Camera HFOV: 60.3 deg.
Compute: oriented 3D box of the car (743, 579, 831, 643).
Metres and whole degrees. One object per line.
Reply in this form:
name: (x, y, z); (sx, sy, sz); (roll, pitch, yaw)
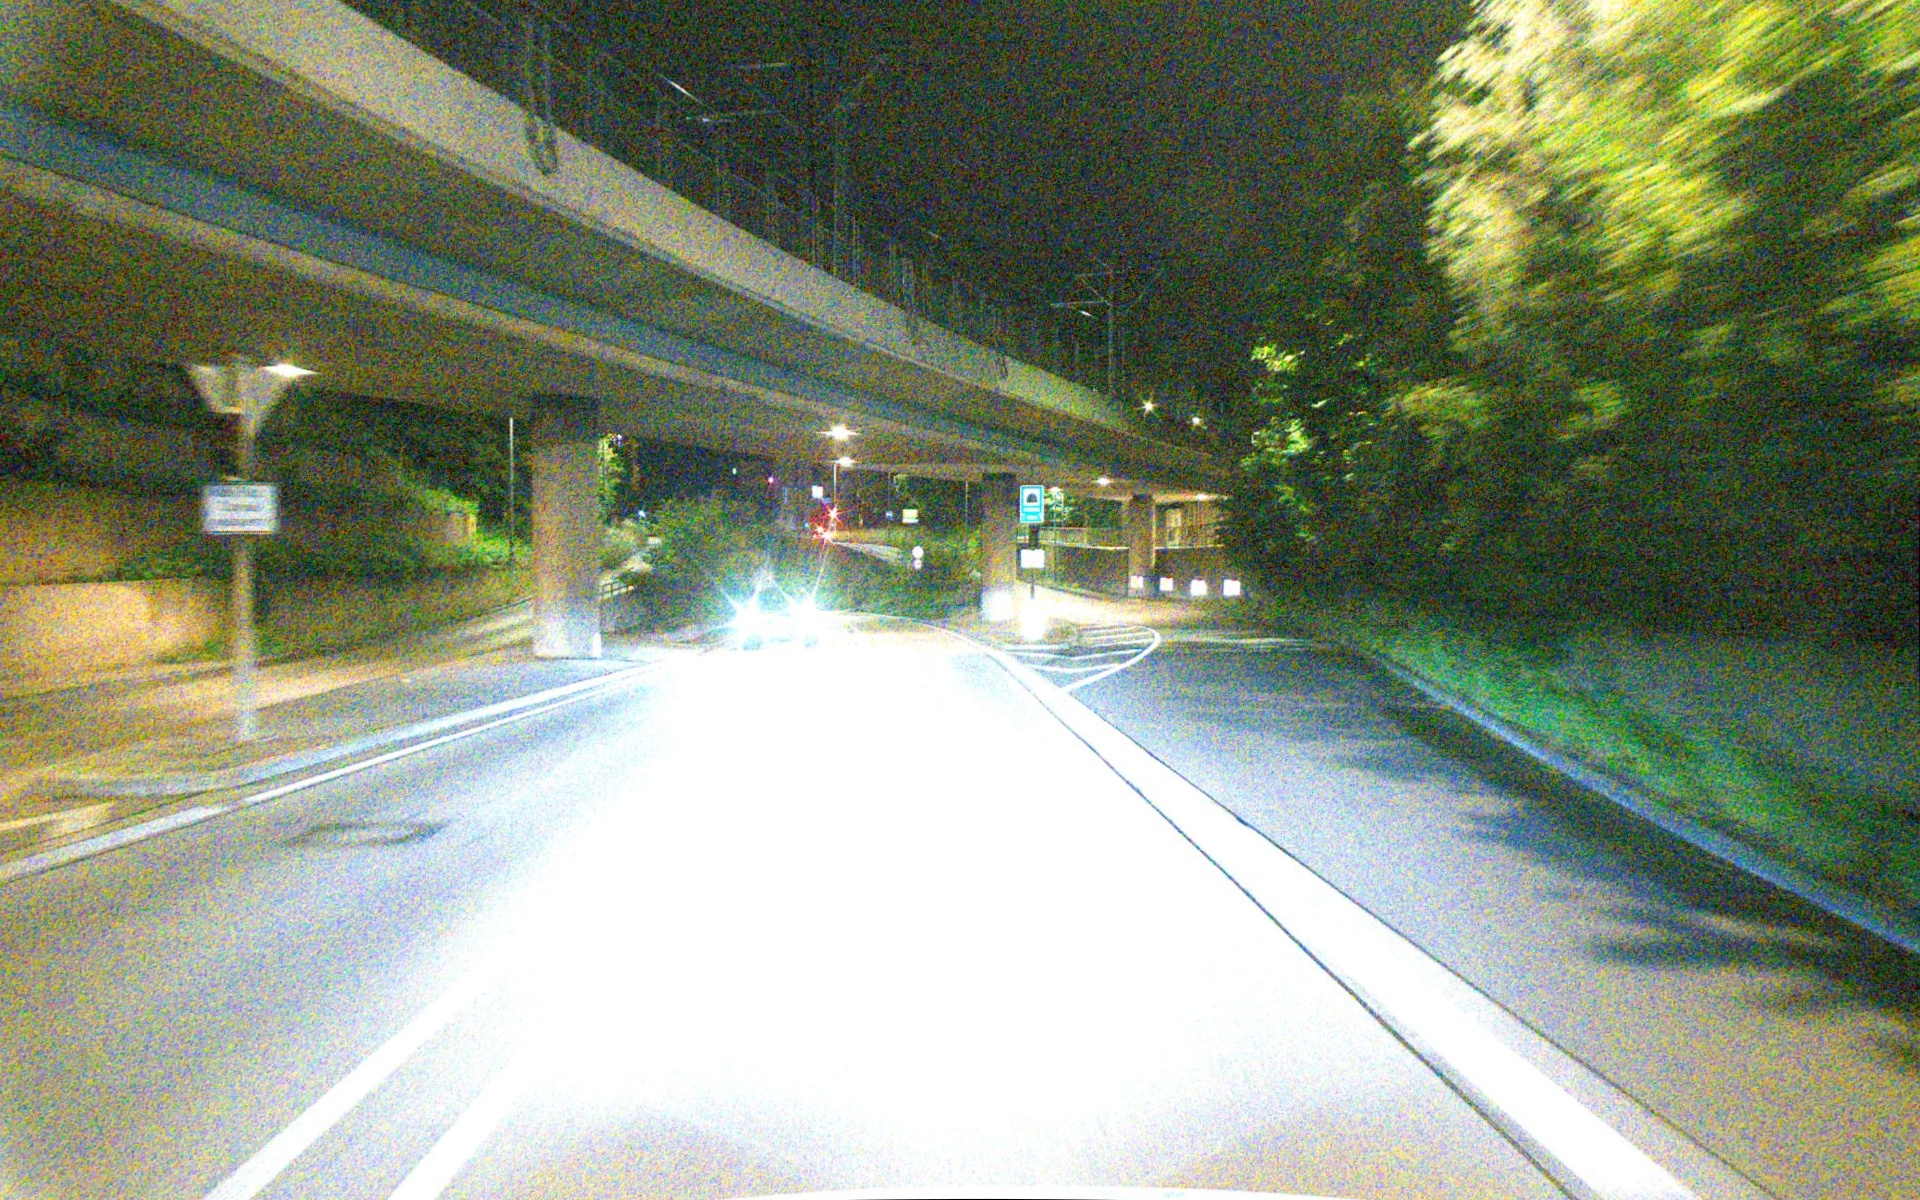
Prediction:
car: (-4.569, 0.300, 44.238); (1.843, 1.581, 4.218); (-1, -1, 1)
